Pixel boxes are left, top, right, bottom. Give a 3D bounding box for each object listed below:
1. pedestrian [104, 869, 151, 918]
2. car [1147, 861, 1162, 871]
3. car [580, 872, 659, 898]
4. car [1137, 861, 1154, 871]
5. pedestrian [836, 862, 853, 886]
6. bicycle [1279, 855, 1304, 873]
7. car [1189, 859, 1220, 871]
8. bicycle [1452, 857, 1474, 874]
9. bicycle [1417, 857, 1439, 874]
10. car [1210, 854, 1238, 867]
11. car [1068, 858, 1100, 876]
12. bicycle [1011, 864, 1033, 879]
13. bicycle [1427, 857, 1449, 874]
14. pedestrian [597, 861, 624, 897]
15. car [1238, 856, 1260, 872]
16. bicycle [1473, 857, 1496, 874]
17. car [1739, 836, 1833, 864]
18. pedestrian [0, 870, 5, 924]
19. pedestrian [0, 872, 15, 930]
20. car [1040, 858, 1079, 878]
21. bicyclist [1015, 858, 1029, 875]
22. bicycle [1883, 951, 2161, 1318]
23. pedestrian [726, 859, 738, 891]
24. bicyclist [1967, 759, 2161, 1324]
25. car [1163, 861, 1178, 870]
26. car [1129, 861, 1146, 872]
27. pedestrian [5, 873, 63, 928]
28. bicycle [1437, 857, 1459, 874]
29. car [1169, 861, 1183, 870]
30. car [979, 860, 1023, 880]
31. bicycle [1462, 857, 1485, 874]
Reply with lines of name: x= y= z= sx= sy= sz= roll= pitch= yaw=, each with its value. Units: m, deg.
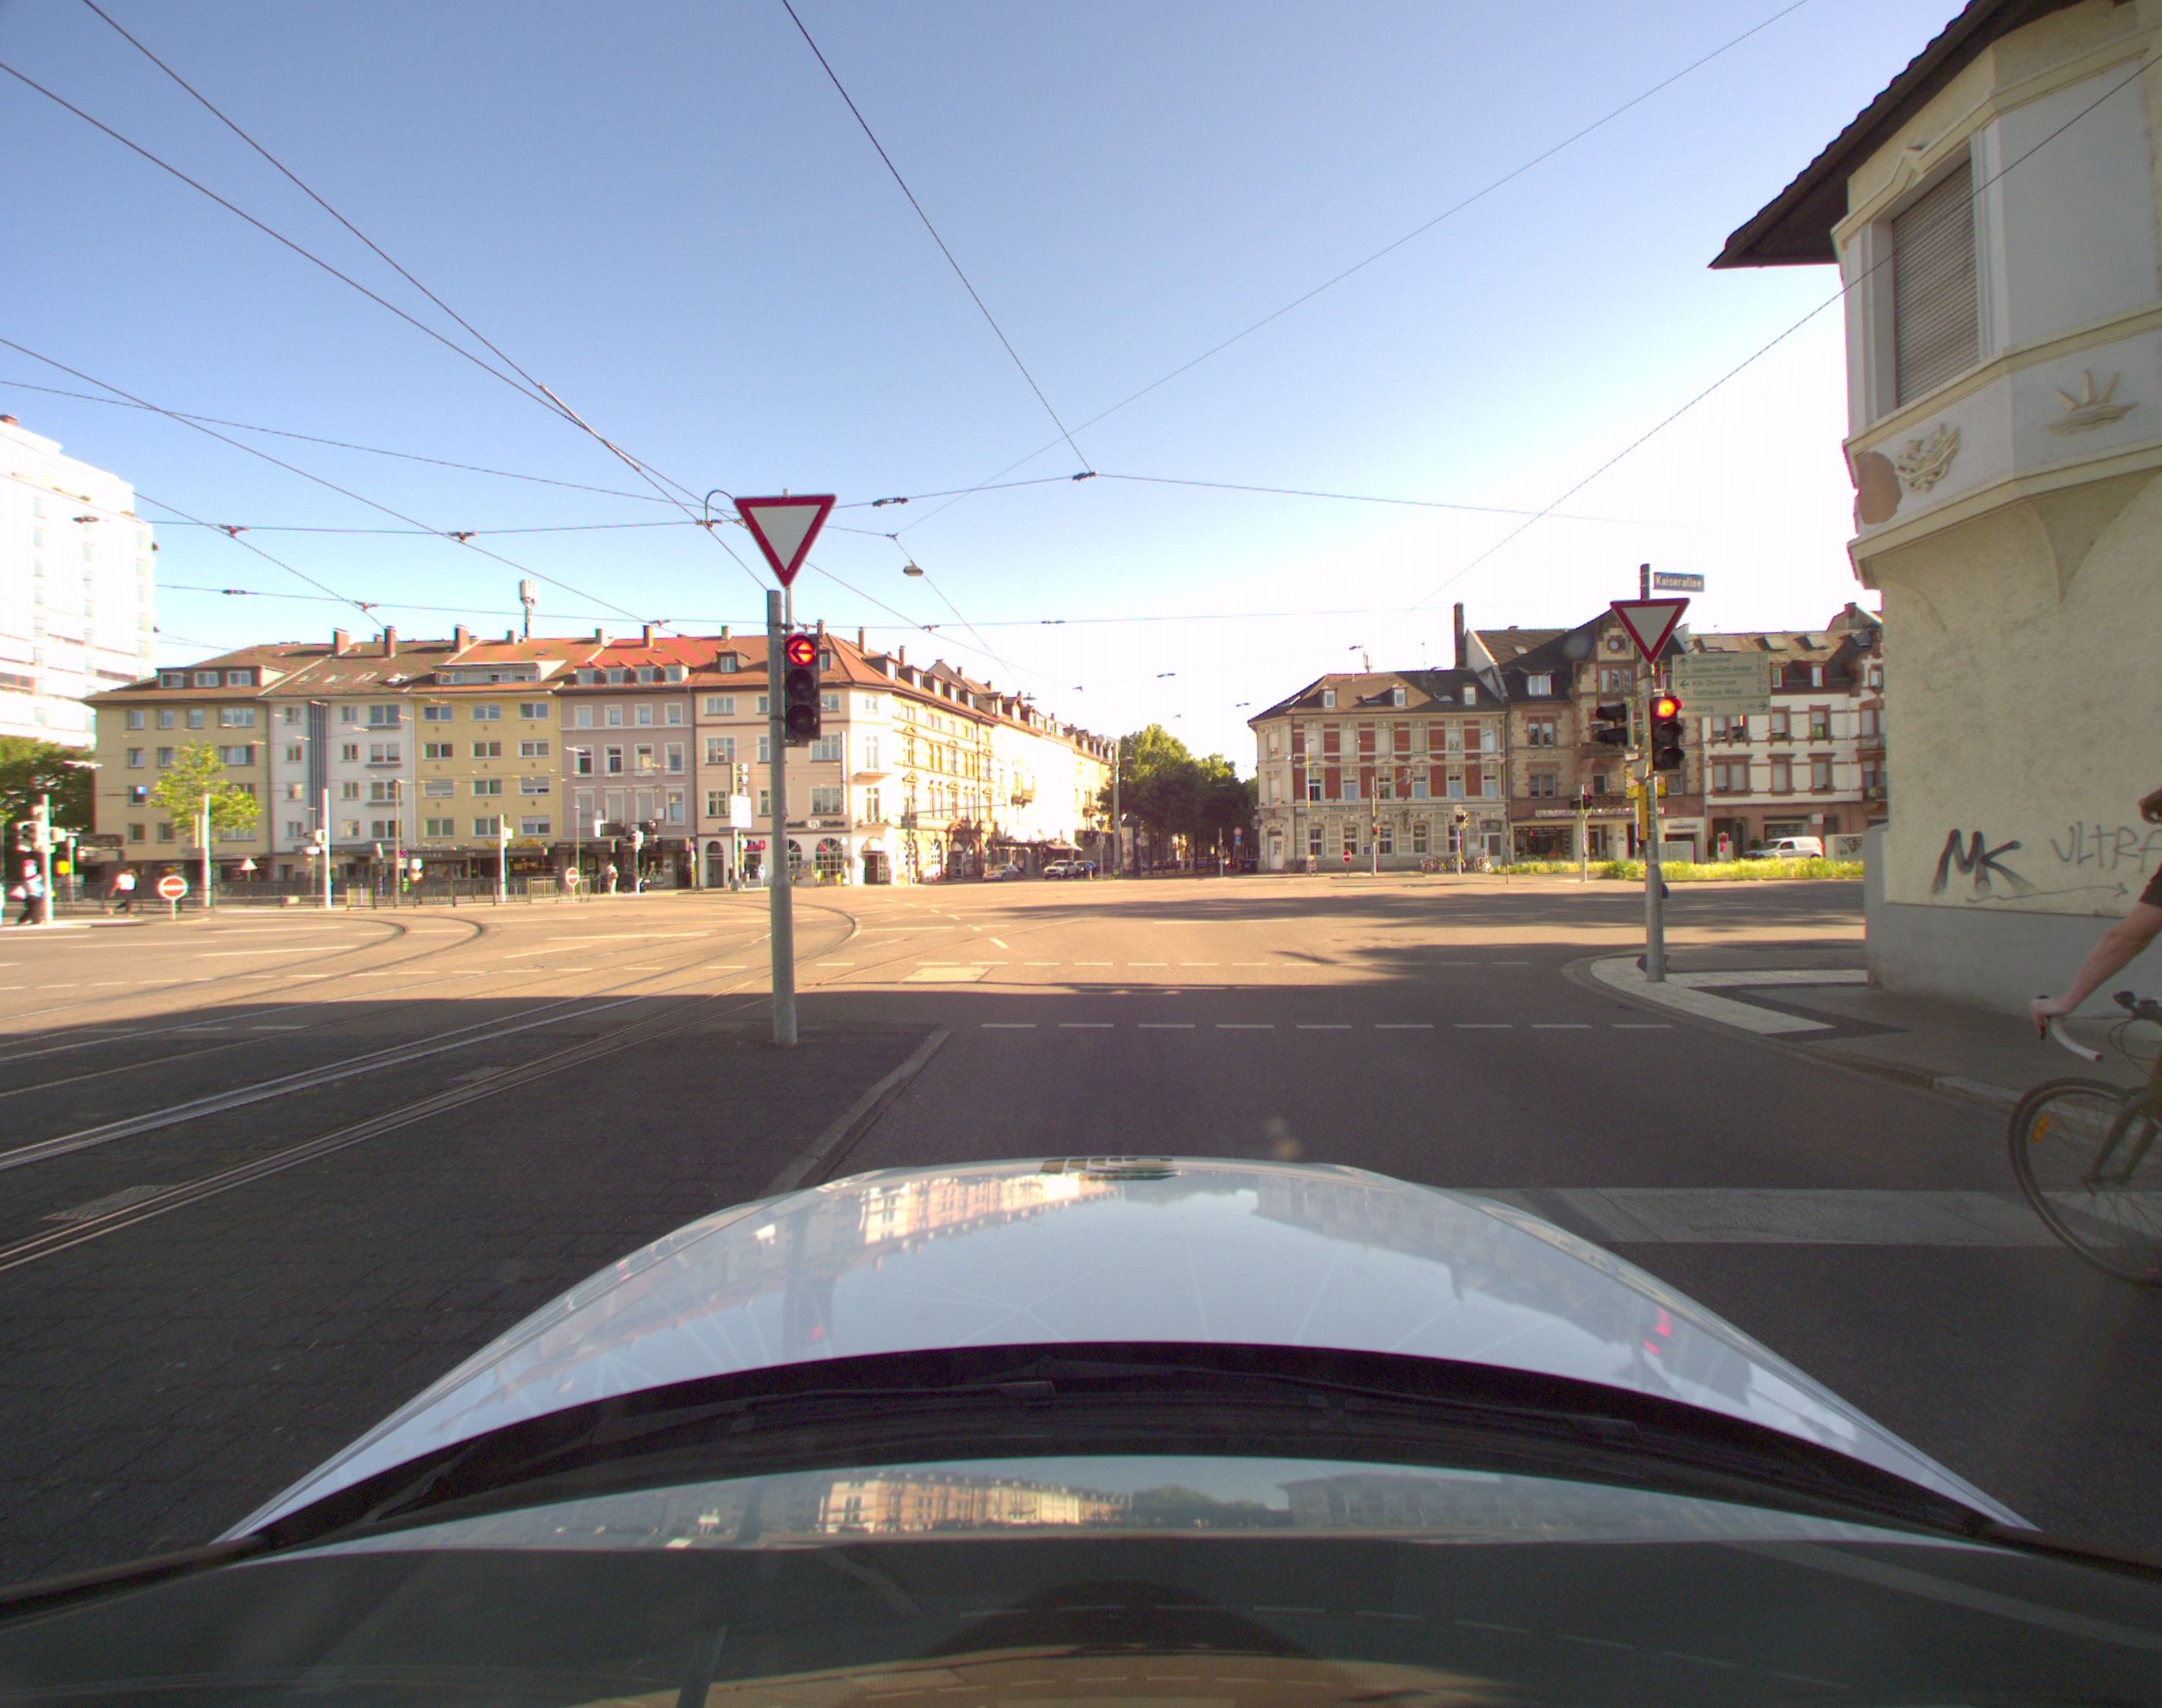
pedestrian: x=-33.868 y=1.398 z=28.931 sx=0.694 sy=1.698 sz=0.781 roll=-1 pitch=0 yaw=-1
car: x=11.072 y=1.736 z=122.702 sx=1.729 sy=1.397 sz=4.137 roll=1 pitch=0 yaw=12
car: x=-30.269 y=1.993 z=53.527 sx=3.978 sy=1.464 sz=1.998 roll=-2 pitch=0 yaw=-4
car: x=9.185 y=1.693 z=115.766 sx=1.729 sy=1.397 sz=4.137 roll=1 pitch=0 yaw=12
pedestrian: x=-16.135 y=1.378 z=55.575 sx=1.068 sy=1.591 sz=1.036 roll=-1 pitch=0 yaw=-19
bicycle: x=14.701 y=0.692 z=56.932 sx=1.625 sy=1.222 sz=0.609 roll=-1 pitch=0 yaw=18
car: x=17.494 y=1.533 z=114.986 sx=4.078 sy=1.646 sz=1.754 roll=1 pitch=0 yaw=17
bicycle: x=24.644 y=0.723 z=52.562 sx=0.603 sy=1.051 sz=1.641 roll=-1 pitch=0 yaw=-3
bicycle: x=22.501 y=0.741 z=52.832 sx=0.603 sy=1.051 sz=1.641 roll=-1 pitch=0 yaw=-3
car: x=23.381 y=1.095 z=133.064 sx=4.074 sy=1.919 sz=1.756 roll=1 pitch=0 yaw=23
car: x=0.297 y=1.154 z=73.686 sx=1.979 sy=1.513 sz=4.015 roll=-1 pitch=0 yaw=14
bicycle: x=-4.763 y=1.432 z=65.893 sx=0.745 sy=1.135 sz=2.821 roll=-1 pitch=0 yaw=16
bicycle: x=23.154 y=0.736 z=52.862 sx=0.603 sy=1.051 sz=1.641 roll=-1 pitch=0 yaw=-3
pedestrian: x=-24.566 y=1.310 z=42.551 sx=0.871 sy=1.818 sz=0.811 roll=-1 pitch=0 yaw=2
car: x=16.912 y=0.995 z=82.044 sx=1.637 sy=1.524 sz=3.772 roll=-2 pitch=-1 yaw=20
bicycle: x=26.058 y=0.713 z=52.604 sx=0.603 sy=1.051 sz=1.641 roll=-1 pitch=0 yaw=-3
car: x=45.389 y=-0.230 z=52.463 sx=4.356 sy=1.654 sz=1.999 roll=-1 pitch=0 yaw=-2
pedestrian: x=-34.552 y=1.379 z=25.672 sx=0.555 sy=1.698 sz=0.496 roll=-1 pitch=0 yaw=-1
pedestrian: x=-32.269 y=1.408 z=24.059 sx=0.742 sy=1.698 sz=0.555 roll=-1 pitch=0 yaw=-2
car: x=-1.725 y=1.165 z=67.363 sx=2.080 sy=1.499 sz=4.017 roll=-2 pitch=0 yaw=16
bicyclist: x=-4.761 y=0.989 z=65.865 sx=0.787 sy=1.375 sz=1.113 roll=-1 pitch=0 yaw=16
bicycle: x=3.584 y=0.916 z=2.501 sx=0.530 sy=1.016 sz=1.759 roll=-1 pitch=0 yaw=2
pedestrian: x=-22.773 y=1.358 z=53.117 sx=0.506 sy=2.013 sz=0.505 roll=-1 pitch=0 yaw=5
bicyclist: x=3.582 y=0.572 z=2.489 sx=0.557 sy=1.730 sz=1.084 roll=0 pitch=-1 yaw=2
car: x=14.450 y=1.819 z=131.449 sx=1.728 sy=1.397 sz=4.141 roll=1 pitch=0 yaw=16
car: x=7.610 y=1.657 z=109.995 sx=1.729 sy=1.397 sz=4.137 roll=1 pitch=0 yaw=12
pedestrian: x=-32.135 y=1.423 z=25.003 sx=0.708 sy=1.625 sz=0.799 roll=-1 pitch=0 yaw=-1
bicycle: x=23.818 y=0.731 z=52.862 sx=0.603 sy=1.051 sz=1.641 roll=-1 pitch=0 yaw=-3
car: x=15.874 y=1.843 z=136.197 sx=1.728 sy=1.397 sz=4.141 roll=1 pitch=0 yaw=16
car: x=-6.592 y=1.306 z=67.693 sx=2.080 sy=1.545 sz=4.382 roll=-2 pitch=0 yaw=16
bicycle: x=25.319 y=0.718 z=52.611 sx=0.603 sy=1.051 sz=1.641 roll=-1 pitch=0 yaw=-3
